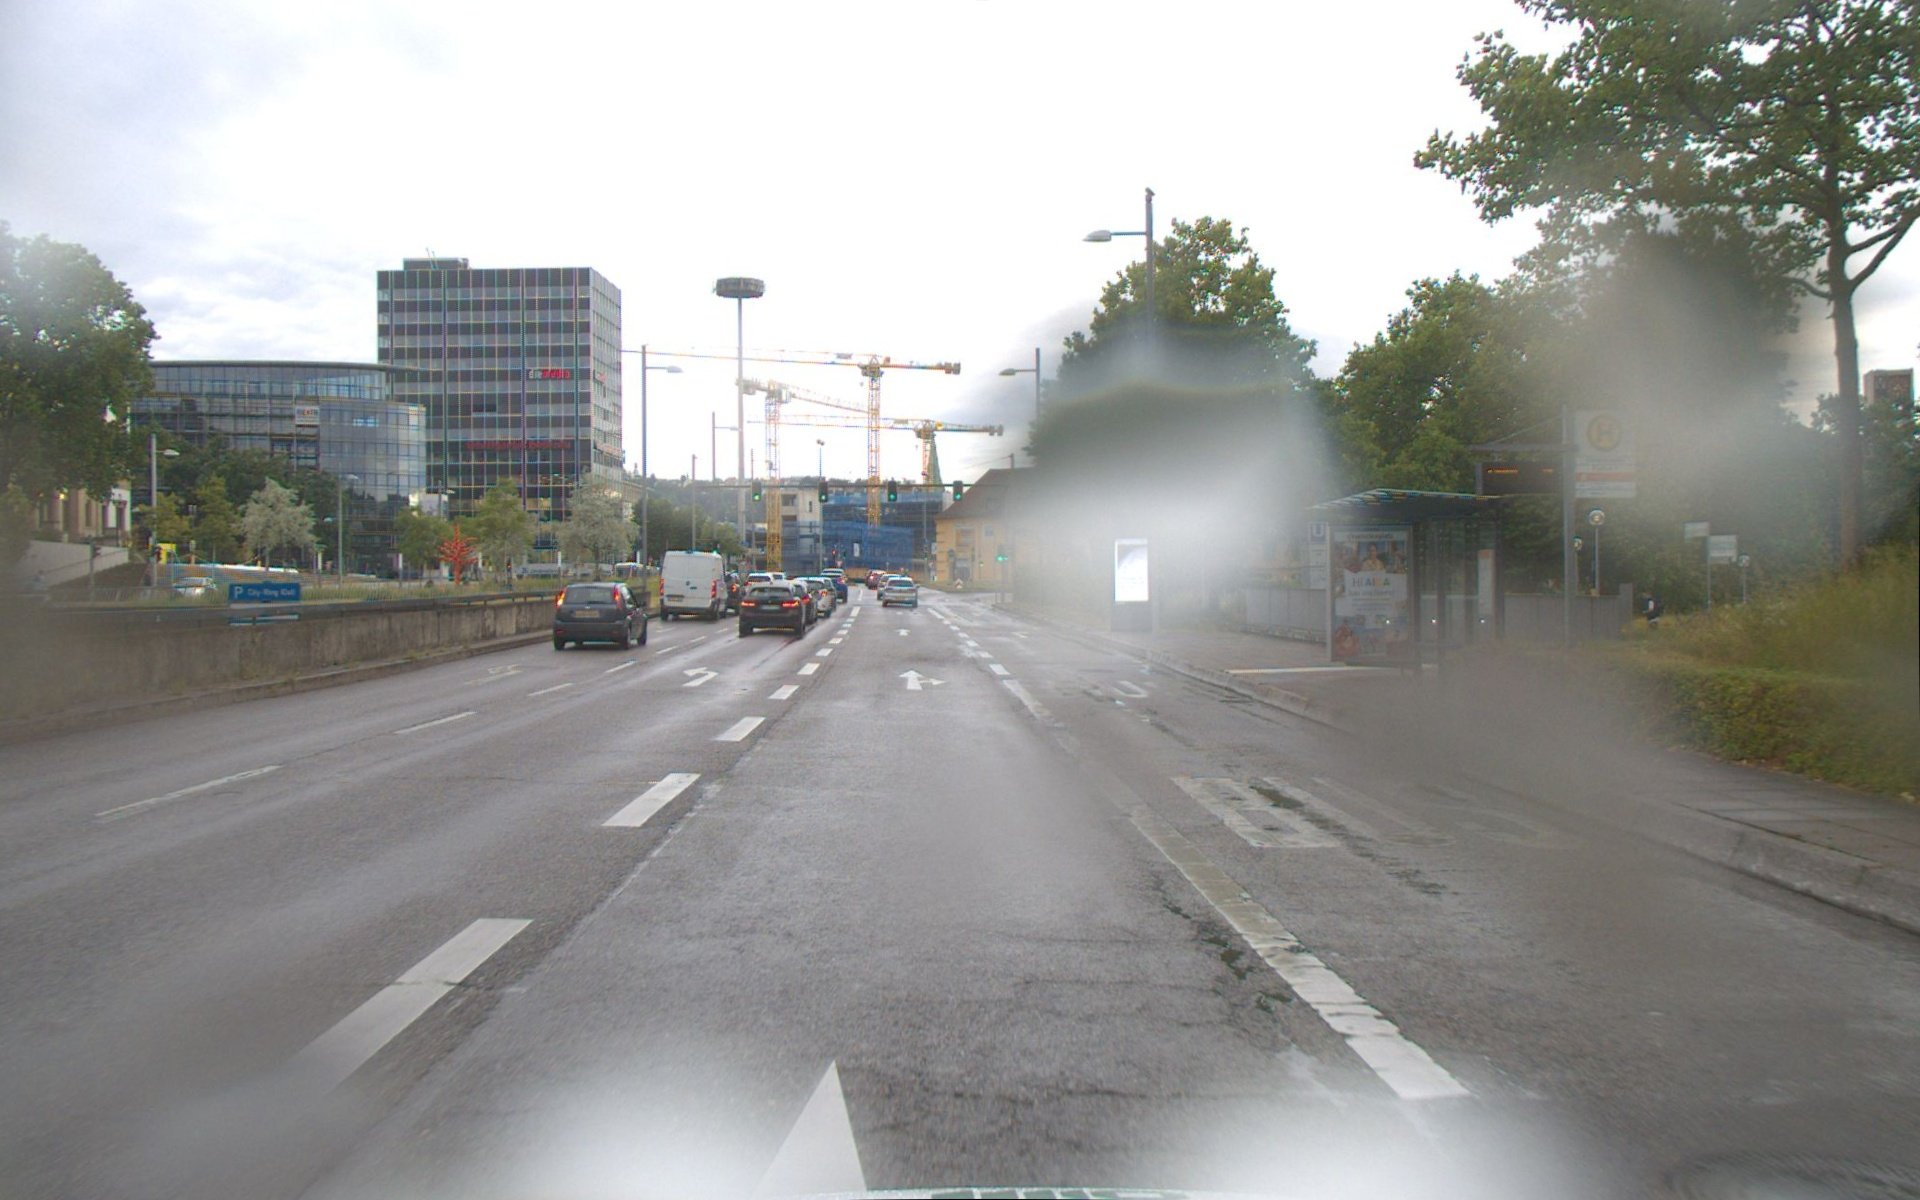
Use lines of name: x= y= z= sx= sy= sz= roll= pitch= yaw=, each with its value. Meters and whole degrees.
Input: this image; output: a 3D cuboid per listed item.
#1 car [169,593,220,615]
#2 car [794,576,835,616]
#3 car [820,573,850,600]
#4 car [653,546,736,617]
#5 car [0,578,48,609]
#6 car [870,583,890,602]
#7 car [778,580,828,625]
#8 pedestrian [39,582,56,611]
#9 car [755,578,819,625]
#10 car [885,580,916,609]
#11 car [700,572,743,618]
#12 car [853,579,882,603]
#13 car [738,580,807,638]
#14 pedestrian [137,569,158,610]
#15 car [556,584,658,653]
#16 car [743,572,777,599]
car: x=-40.813 y=0.237 z=88.277 sx=1.411 sy=1.134 sz=3.019 roll=1 pitch=-1 yaw=-3
car: x=-6.600 y=-0.165 z=75.281 sx=1.682 sy=1.758 sz=3.492 roll=1 pitch=-1 yaw=-3
car: x=-6.691 y=-0.699 z=88.622 sx=1.463 sy=1.393 sz=3.031 roll=1 pitch=-1 yaw=-3
car: x=-9.342 y=-0.596 z=58.576 sx=2.246 sy=2.354 sz=5.003 roll=1 pitch=-1 yaw=-2
car: x=-39.954 y=-0.273 z=69.572 sx=1.379 sy=1.277 sz=3.166 roll=1 pitch=-1 yaw=0
car: x=-4.686 y=-0.437 z=96.697 sx=1.054 sy=1.008 sz=1.971 roll=1 pitch=-1 yaw=0
car: x=-6.071 y=0.116 z=64.022 sx=1.844 sy=1.681 sz=3.454 roll=1 pitch=-1 yaw=-5
pedestrian: x=-46.876 y=-0.172 z=84.954 sx=0.482 sy=1.448 sz=0.633 roll=1 pitch=-1 yaw=-1
car: x=-5.779 y=0.062 z=55.583 sx=1.792 sy=1.521 sz=3.398 roll=1 pitch=-1 yaw=-1
car: x=-2.910 y=-0.247 z=81.377 sx=1.414 sy=1.383 sz=2.412 roll=1 pitch=-1 yaw=0
car: x=-9.340 y=-0.176 z=64.956 sx=1.435 sy=1.736 sz=3.138 roll=1 pitch=-1 yaw=-4
car: x=-7.749 y=-0.710 z=138.450 sx=2.117 sy=1.912 sz=3.770 roll=1 pitch=-1 yaw=0
car: x=-5.303 y=0.226 z=47.120 sx=1.719 sy=1.497 sz=4.220 roll=1 pitch=1 yaw=-4
pedestrian: x=-43.680 y=-0.577 z=88.956 sx=0.752 sy=2.127 sz=0.726 roll=1 pitch=5 yaw=-3
car: x=-7.855 y=0.406 z=37.092 sx=1.511 sy=1.440 sz=3.900 roll=1 pitch=-1 yaw=-1
car: x=-10.286 y=-0.736 z=85.103 sx=1.520 sy=1.282 sz=2.579 roll=1 pitch=-1 yaw=-3
